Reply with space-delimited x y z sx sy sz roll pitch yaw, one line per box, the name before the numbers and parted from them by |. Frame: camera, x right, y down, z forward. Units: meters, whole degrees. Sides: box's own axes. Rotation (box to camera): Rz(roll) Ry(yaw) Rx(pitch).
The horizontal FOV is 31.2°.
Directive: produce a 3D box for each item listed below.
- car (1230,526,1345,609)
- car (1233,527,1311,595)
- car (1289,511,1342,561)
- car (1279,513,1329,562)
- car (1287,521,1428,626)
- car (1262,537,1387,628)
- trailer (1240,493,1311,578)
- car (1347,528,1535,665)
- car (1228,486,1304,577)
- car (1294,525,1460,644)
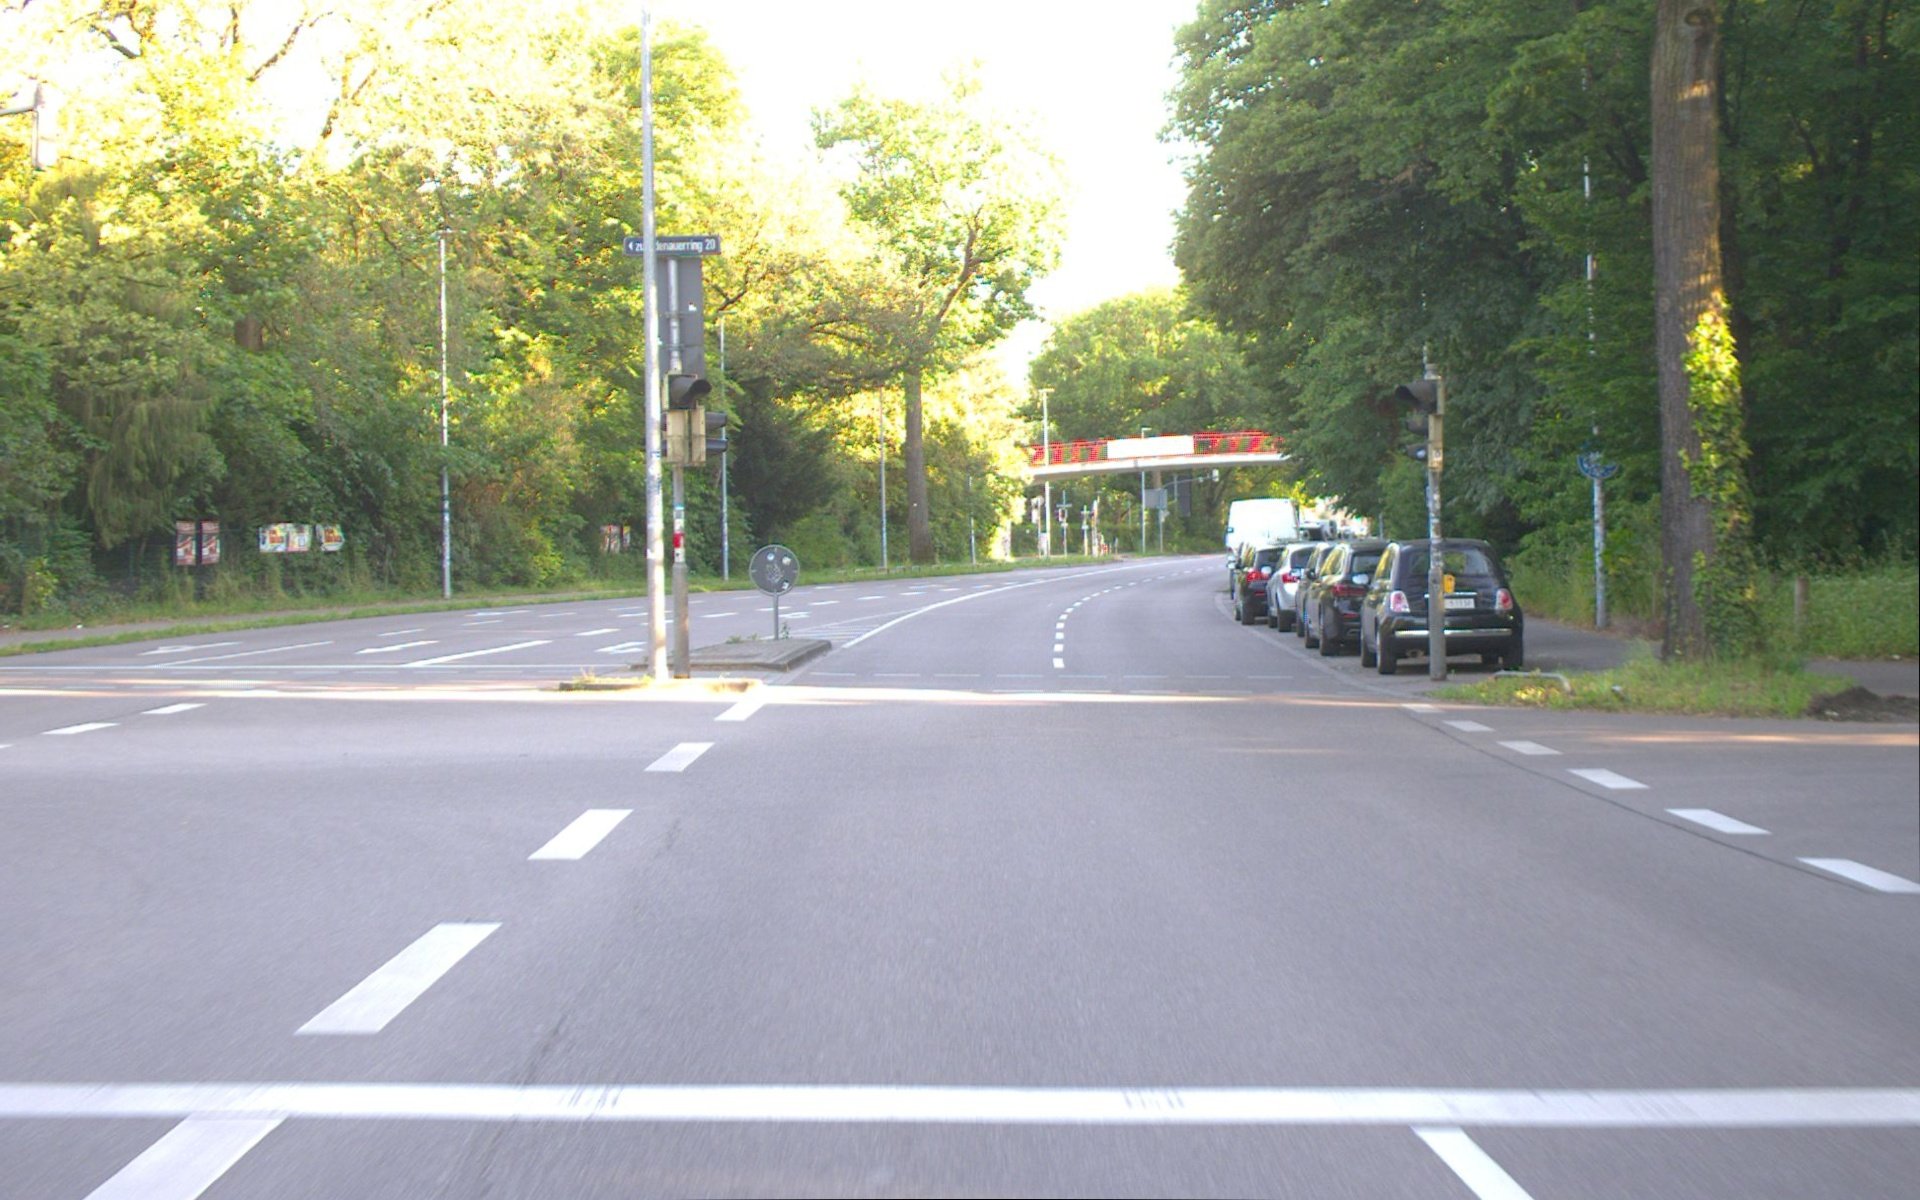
car | 5.846 -0.594 61.772 1.718 1.407 4.487 -1 1 2
car | 7.059 -0.883 77.958 1.678 1.459 3.688 -1 1 5
car | 14.802 -2.656 142.989 1.869 1.974 5.473 -1 1 9
car | 13.070 -2.367 130.462 1.759 1.798 4.736 -1 1 7
car | 5.923 -0.409 51.616 1.718 1.464 4.202 -1 1 2
car | 5.985 -0.311 56.821 1.718 1.407 4.124 -1 1 2
trailer | 9.407 -1.909 102.230 1.904 2.415 5.125 -1 1 7
car | 5.489 -0.062 39.626 1.718 1.464 3.756 -1 1 2
car | 8.526 -1.884 95.504 1.904 2.415 5.574 -1 1 7
car | 5.530 -0.224 46.055 1.718 1.464 4.988 -1 1 2
